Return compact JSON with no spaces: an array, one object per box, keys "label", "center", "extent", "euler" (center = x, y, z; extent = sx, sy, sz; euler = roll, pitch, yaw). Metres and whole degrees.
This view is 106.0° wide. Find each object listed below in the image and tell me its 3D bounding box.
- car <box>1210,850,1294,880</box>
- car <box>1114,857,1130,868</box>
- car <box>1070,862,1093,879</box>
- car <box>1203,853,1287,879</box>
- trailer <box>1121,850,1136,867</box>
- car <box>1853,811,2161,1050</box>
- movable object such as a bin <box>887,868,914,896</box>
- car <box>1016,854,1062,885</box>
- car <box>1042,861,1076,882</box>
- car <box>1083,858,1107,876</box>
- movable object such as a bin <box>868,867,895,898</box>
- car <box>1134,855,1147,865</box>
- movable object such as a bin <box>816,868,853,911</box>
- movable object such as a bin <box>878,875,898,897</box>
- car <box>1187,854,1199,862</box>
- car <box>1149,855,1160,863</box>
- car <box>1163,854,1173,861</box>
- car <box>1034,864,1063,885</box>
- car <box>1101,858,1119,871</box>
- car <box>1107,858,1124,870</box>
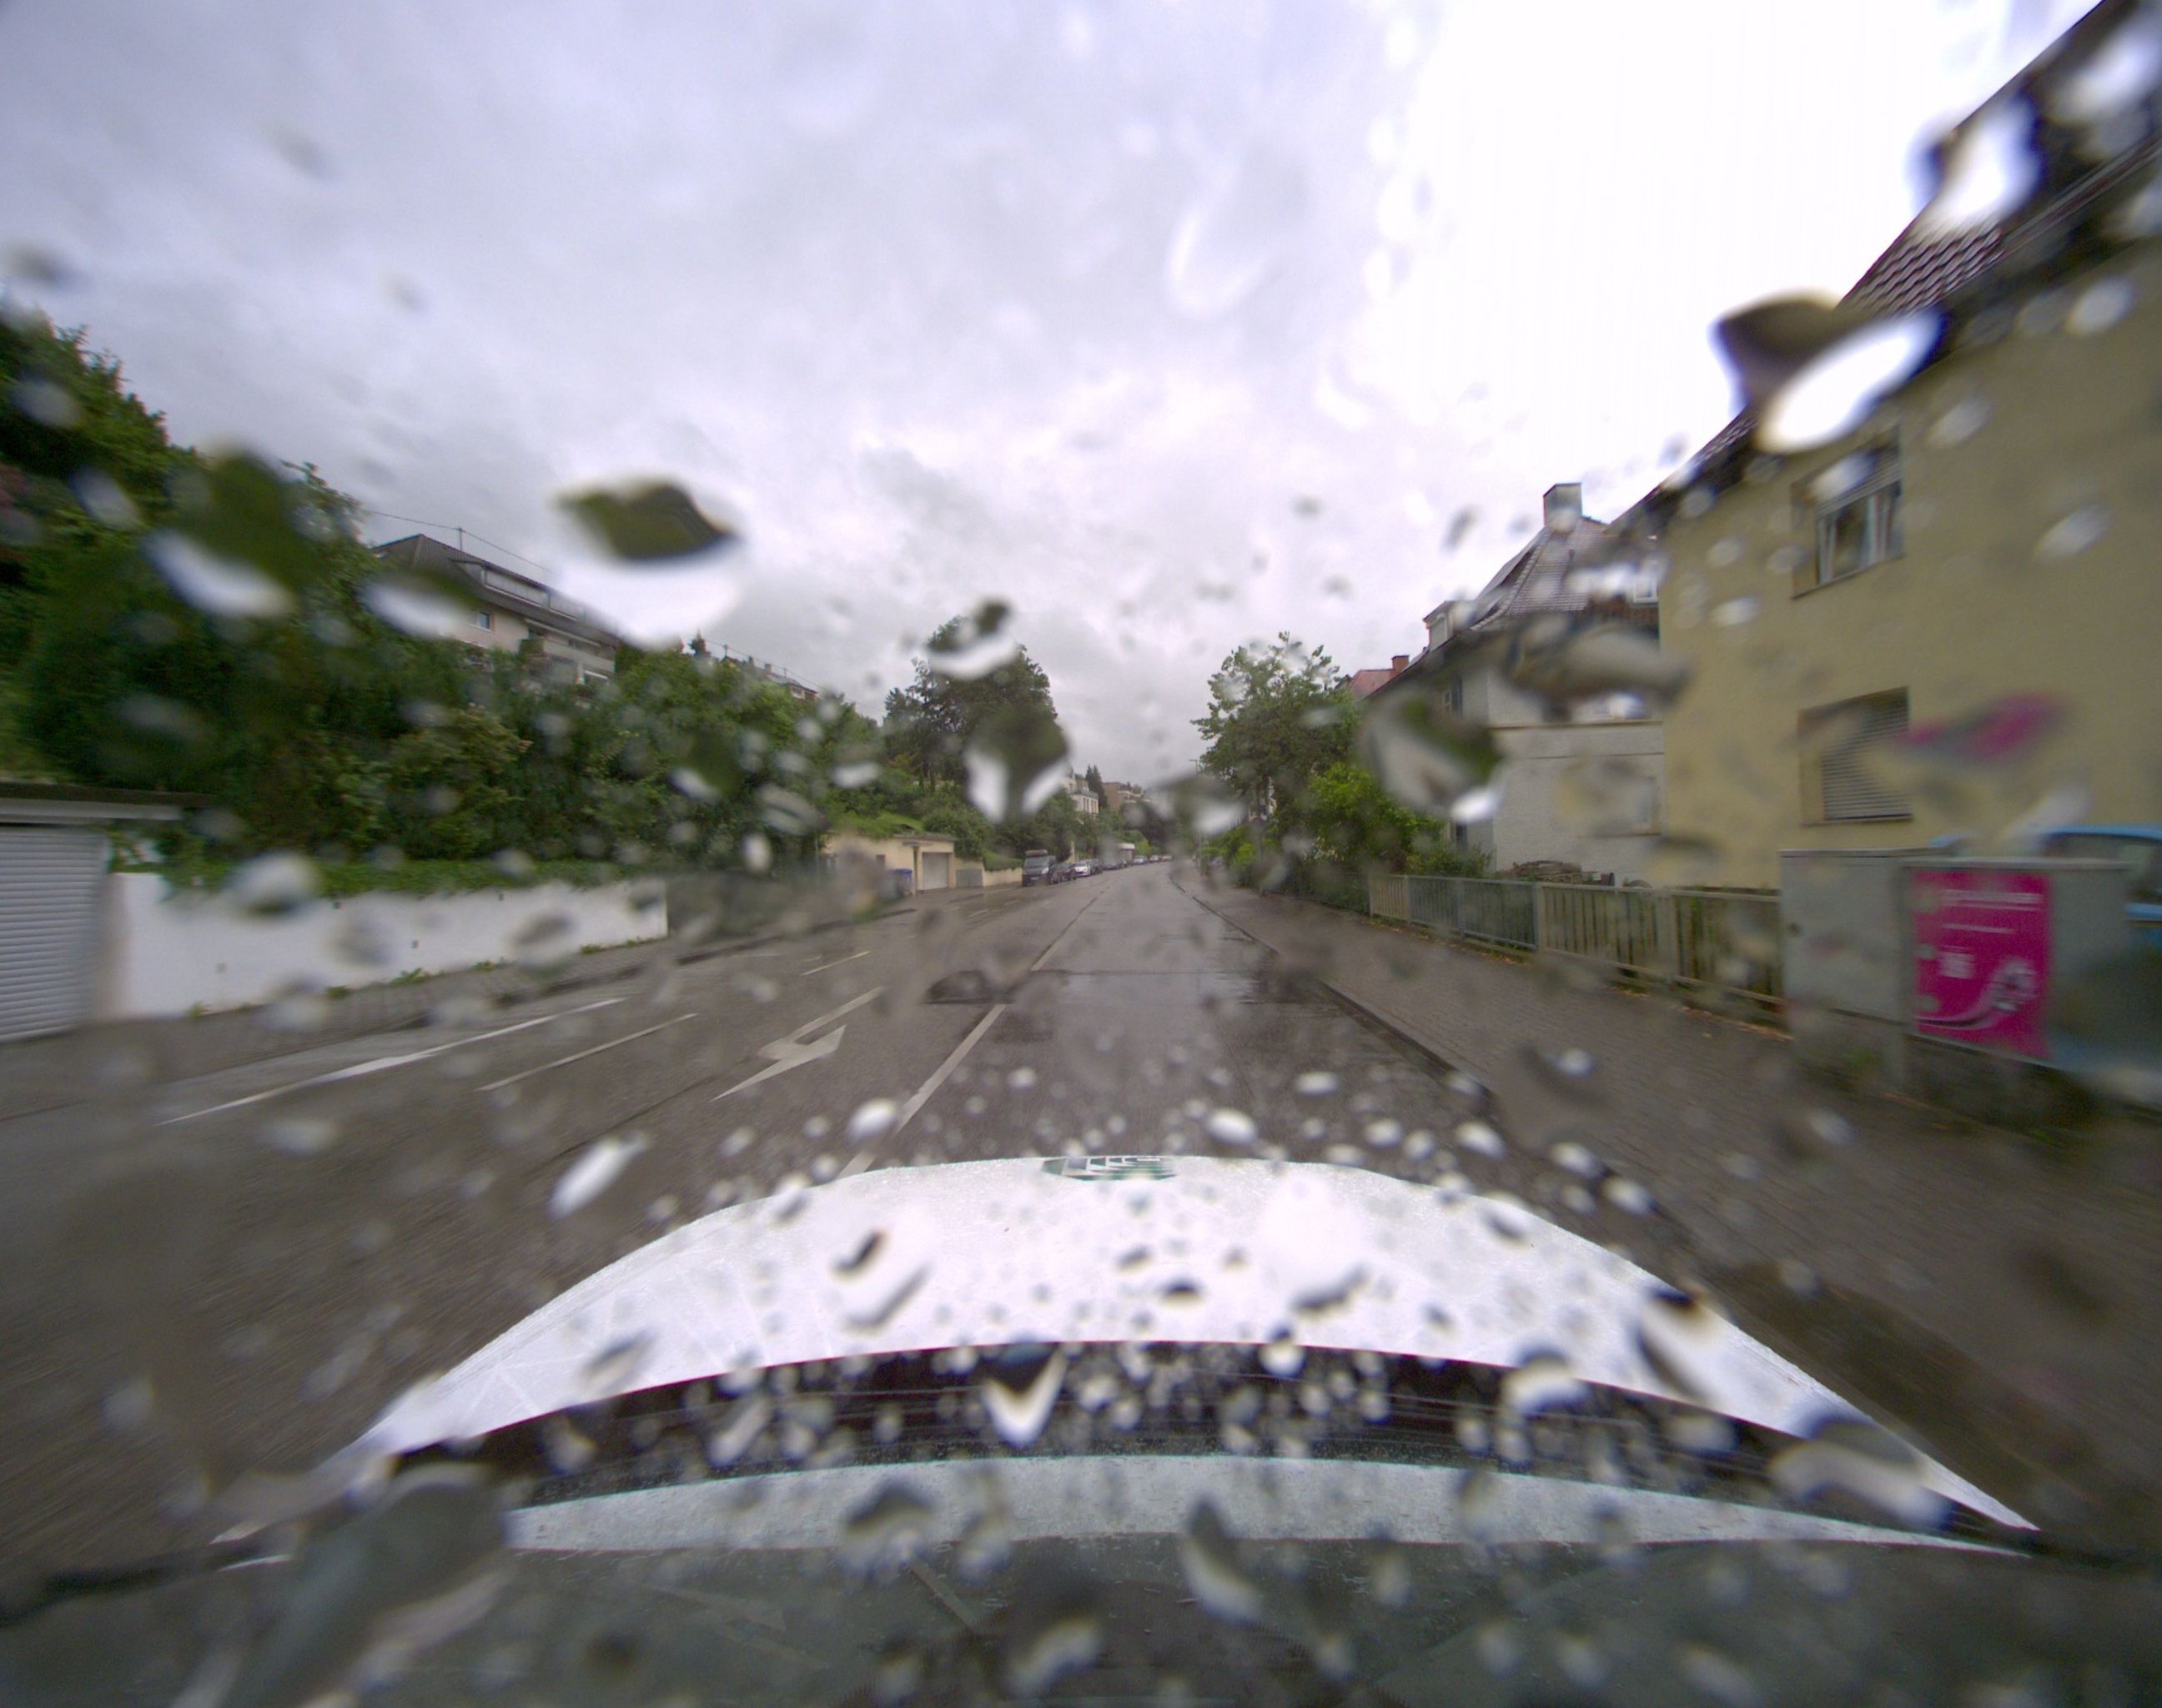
[{"label":"car","center":[9.116,0.614,43.518],"extent":[3.948,1.457,1.783],"euler":[-2,0,39]},{"label":"car","center":[5.887,1.216,116.369],"extent":[1.797,1.349,3.786],"euler":[-4,0,9]},{"label":"car","center":[0.116,1.533,76.310],"extent":[1.708,1.365,4.089],"euler":[-5,0,5]},{"label":"car","center":[9.428,0.712,46.905],"extent":[4.326,1.364,1.931],"euler":[-2,-2,39]},{"label":"trailer","center":[7.113,0.621,122.095],"extent":[1.526,2.399,3.083],"euler":[-5,-1,13]},{"label":"car","center":[7.505,0.460,5.366],"extent":[1.661,1.471,3.530],"euler":[-1,-1,5]},{"label":"movable object such as a bin","center":[-8.875,1.367,40.115],"extent":[0.815,1.314,1.405],"euler":[-1,0,9]},{"label":"car","center":[-2.757,1.007,54.650],"extent":[2.147,1.919,5.333],"euler":[-3,-1,6]},{"label":"car","center":[-1.697,1.392,65.207],"extent":[1.898,1.480,4.765],"euler":[-5,-1,8]},{"label":"car","center":[1.512,1.366,86.421],"extent":[1.864,1.626,4.604],"euler":[-5,0,8]},{"label":"movable object such as a bin","center":[-9.288,1.315,37.914],"extent":[0.815,1.382,1.137],"euler":[-1,0,9]},{"label":"car","center":[9.974,0.999,136.040],"extent":[1.745,1.539,3.767],"euler":[-5,0,10]},{"label":"movable object such as a bin","center":[-8.469,1.201,27.963],"extent":[0.928,1.445,0.862],"euler":[1,-2,3]},{"label":"movable object such as a bin","center":[-9.188,1.522,38.827],"extent":[0.731,1.042,0.609],"euler":[-1,-1,9]},{"label":"car","center":[21.692,0.718,157.590],"extent":[1.776,1.460,4.325],"euler":[-2,-1,14]},{"label":"car","center":[14.362,0.989,158.433],"extent":[1.745,1.402,3.781],"euler":[-5,-1,11]},{"label":"car","center":[18.942,0.765,177.131],"extent":[1.744,1.498,4.233],"euler":[-4,-1,11]},{"label":"car","center":[-2.366,1.465,59.941],"extent":[1.557,1.364,3.913],"euler":[-4,-1,5]},{"label":"car","center":[3.702,1.288,104.242],"extent":[1.776,1.455,4.766],"euler":[-5,0,8]},{"label":"car","center":[4.651,1.273,109.594],"extent":[1.775,1.415,4.228],"euler":[-4,0,9]}]
